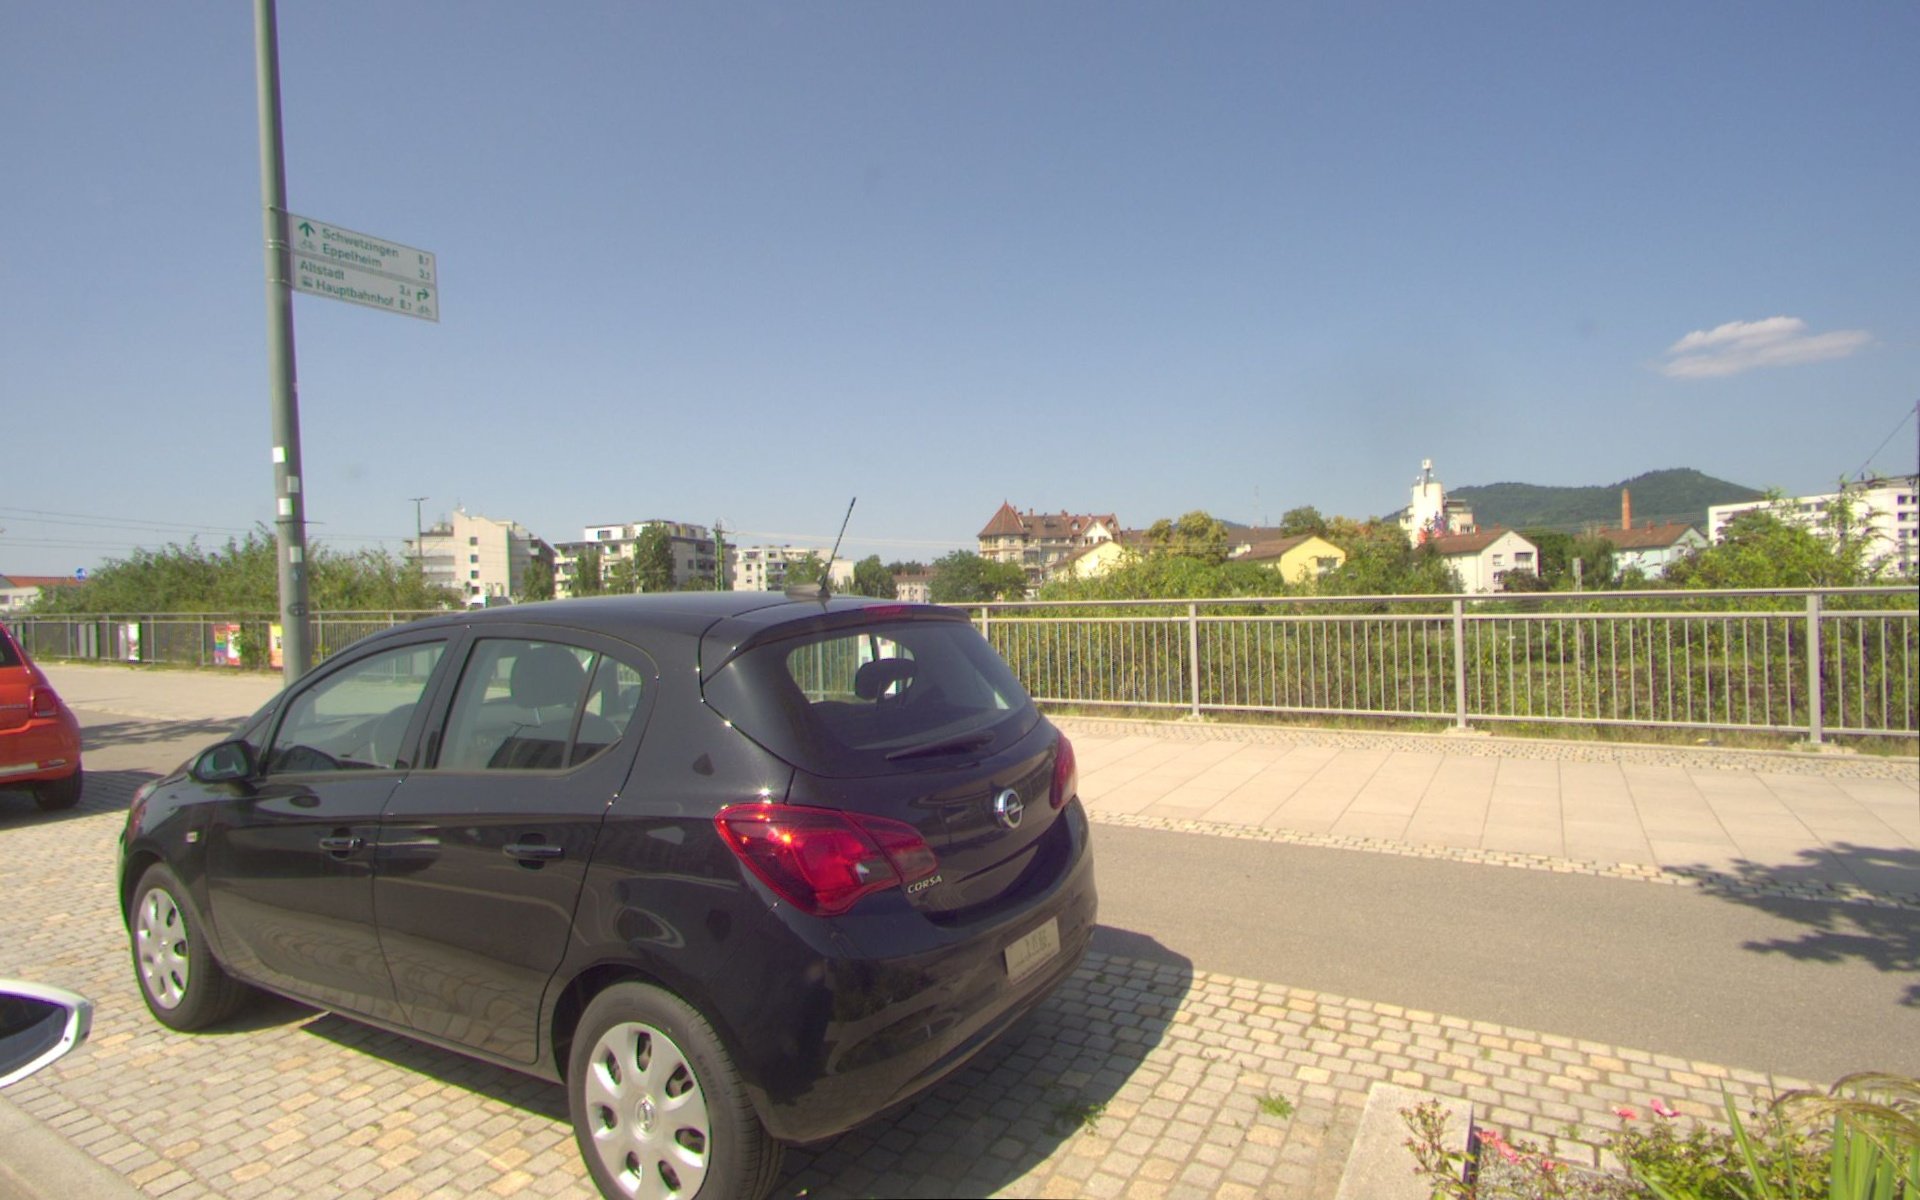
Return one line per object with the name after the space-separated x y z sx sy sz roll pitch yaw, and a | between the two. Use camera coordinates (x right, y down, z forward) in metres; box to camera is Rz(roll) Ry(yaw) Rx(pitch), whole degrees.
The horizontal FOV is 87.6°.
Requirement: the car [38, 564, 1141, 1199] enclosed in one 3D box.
-1.520 0.692 3.608 3.943 1.445 1.657 -1 0 32 | car

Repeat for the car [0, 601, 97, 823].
-8.179 0.806 7.596 3.305 1.517 1.605 -1 2 34 | car
